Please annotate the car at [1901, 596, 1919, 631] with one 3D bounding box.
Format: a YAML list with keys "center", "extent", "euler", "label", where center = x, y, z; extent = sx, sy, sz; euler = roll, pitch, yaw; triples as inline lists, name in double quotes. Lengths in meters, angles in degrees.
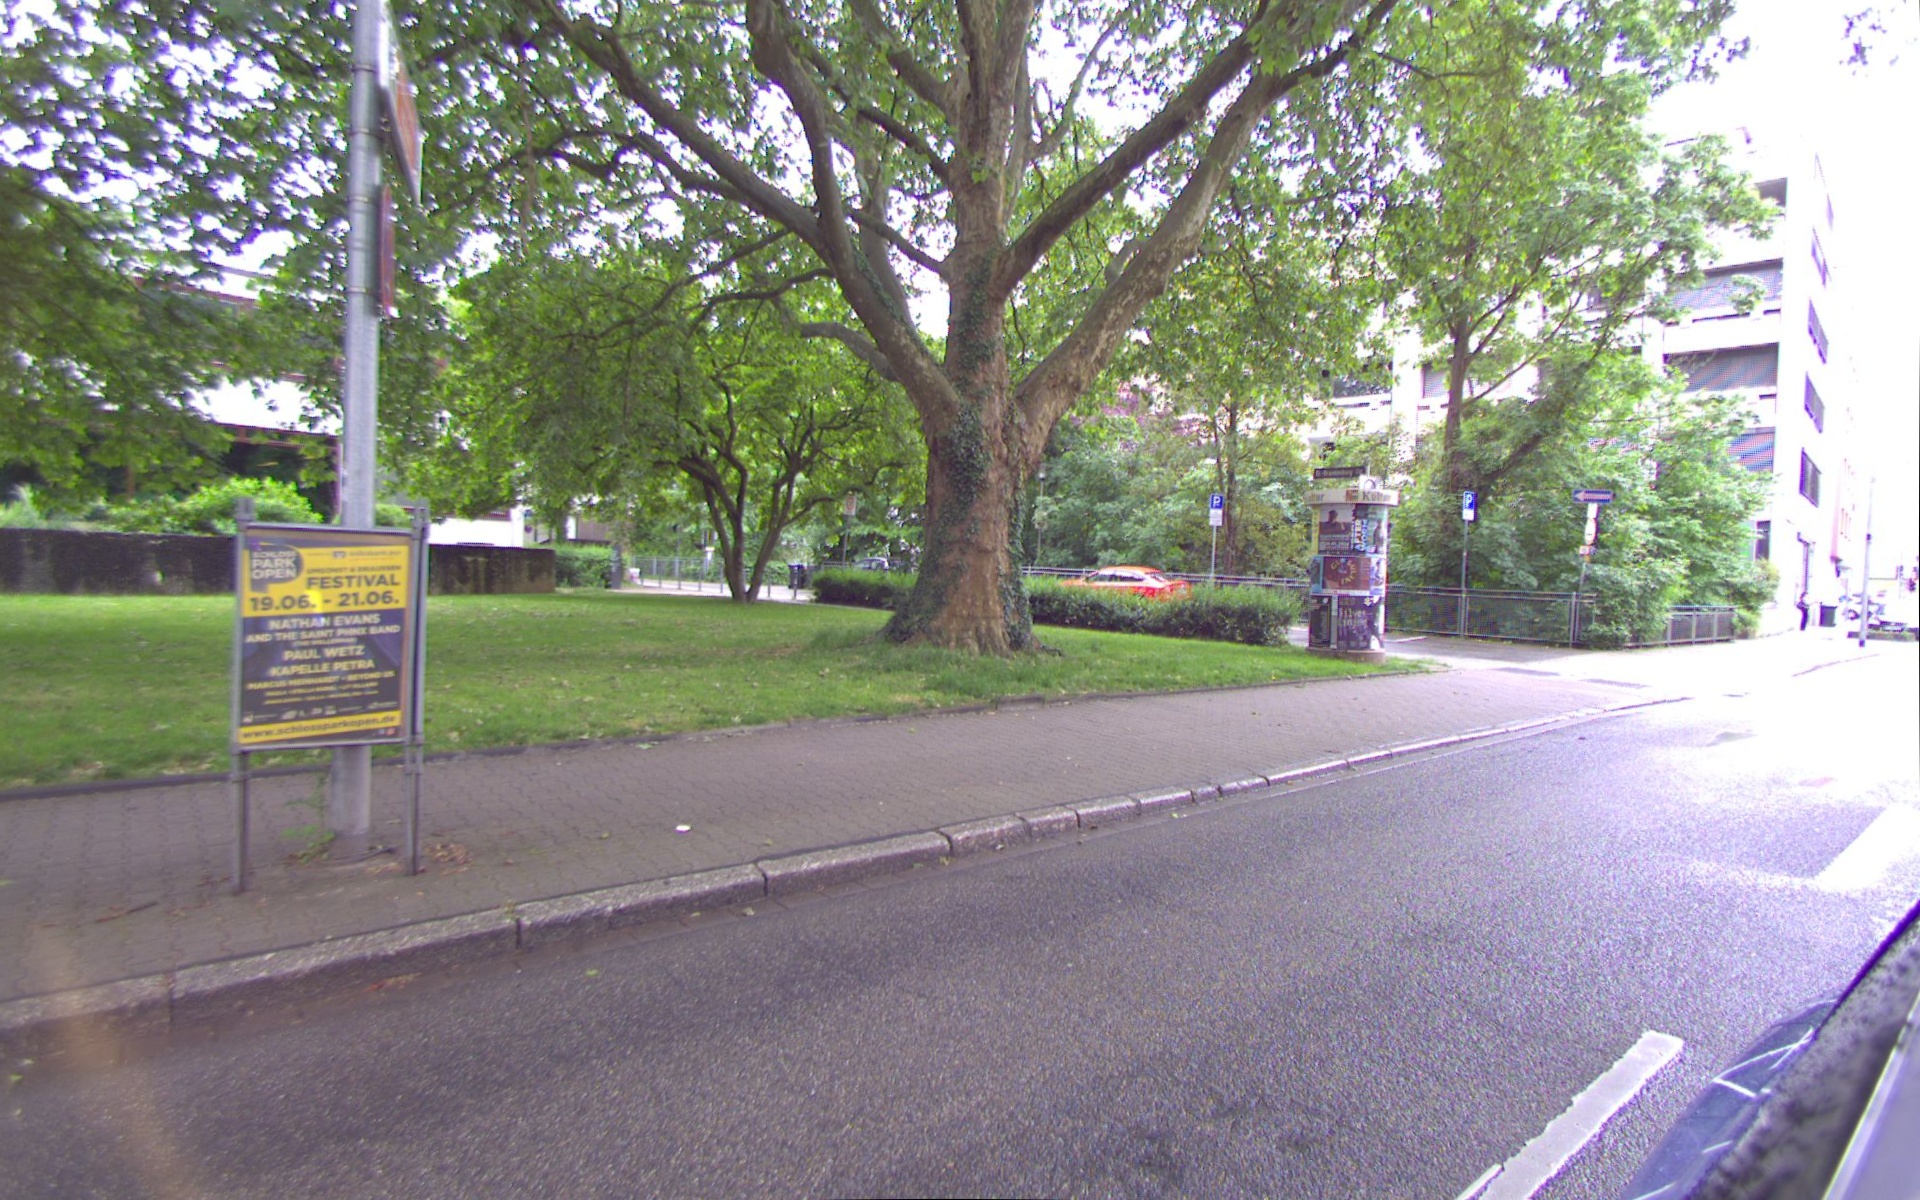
- center: [42.601, 0.610, 44.175]
  extent: [4.493, 1.437, 1.834]
  euler: [0, 3, -43]
  label: "car"

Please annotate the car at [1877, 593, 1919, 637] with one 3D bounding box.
- center: [37.418, 0.581, 39.755]
  extent: [3.741, 1.577, 1.705]
  euler: [0, 4, -43]
  label: "car"

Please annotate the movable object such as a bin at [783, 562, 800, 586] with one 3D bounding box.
- center: [-7.185, -1.108, 43.152]
  extent: [0.573, 0.986, 0.512]
  euler: [0, 0, -41]
  label: "movable object such as a bin"

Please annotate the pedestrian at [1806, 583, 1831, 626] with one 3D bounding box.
- center: [34.793, 0.157, 41.015]
  extent: [0.598, 1.679, 0.681]
  euler: [7, 4, 42]
  label: "pedestrian"

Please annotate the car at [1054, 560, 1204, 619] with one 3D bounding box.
- center: [4.903, -0.371, 29.734]
  extent: [3.989, 1.499, 1.847]
  euler: [5, 4, 44]
  label: "car"

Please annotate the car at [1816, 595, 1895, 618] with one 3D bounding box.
- center: [62.879, 0.423, 71.091]
  extent: [1.569, 1.588, 3.967]
  euler: [0, 0, -39]
  label: "car"

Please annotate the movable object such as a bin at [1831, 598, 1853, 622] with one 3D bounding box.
- center: [42.111, 0.477, 48.314]
  extent: [0.505, 1.117, 0.680]
  euler: [0, 2, -42]
  label: "movable object such as a bin"

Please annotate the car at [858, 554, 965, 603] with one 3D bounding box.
- center: [-1.826, -0.803, 37.081]
  extent: [1.707, 1.590, 3.925]
  euler: [0, 3, -45]
  label: "car"

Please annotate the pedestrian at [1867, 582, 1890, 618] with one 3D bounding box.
- center: [56.474, -0.021, 62.245]
  extent: [0.797, 2.179, 0.732]
  euler: [2, 1, 26]
  label: "pedestrian"
